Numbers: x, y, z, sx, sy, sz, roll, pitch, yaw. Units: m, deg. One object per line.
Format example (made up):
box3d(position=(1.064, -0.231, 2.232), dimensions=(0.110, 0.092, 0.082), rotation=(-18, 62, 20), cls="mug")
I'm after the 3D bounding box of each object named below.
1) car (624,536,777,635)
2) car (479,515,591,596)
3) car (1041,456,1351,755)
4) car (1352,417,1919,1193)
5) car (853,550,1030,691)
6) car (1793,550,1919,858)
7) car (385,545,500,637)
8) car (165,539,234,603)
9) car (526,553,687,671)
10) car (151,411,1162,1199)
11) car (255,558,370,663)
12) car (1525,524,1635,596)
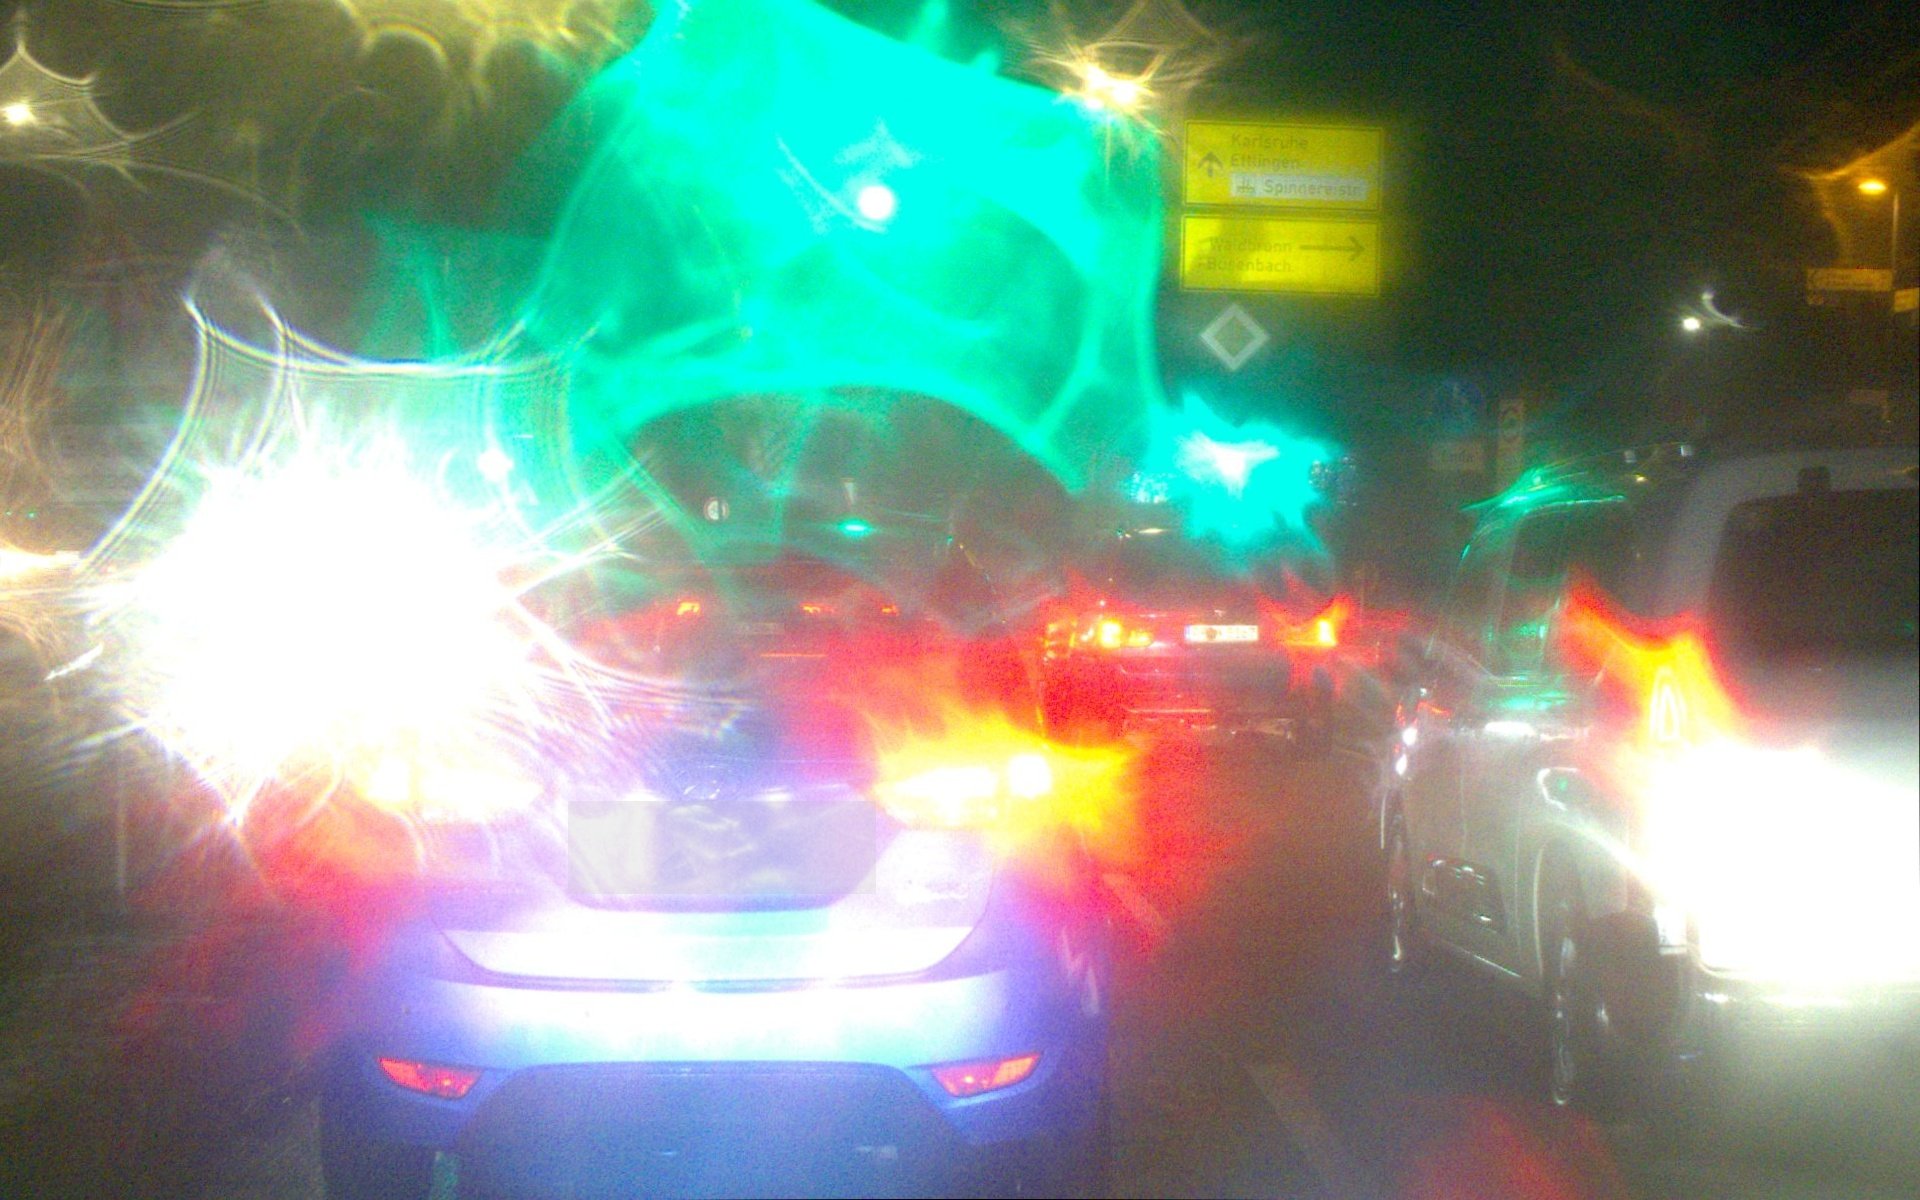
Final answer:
box3d(position=(-4.624, -0.275, 60.711), dimensions=(1.993, 1.664, 4.001), rotation=(1, 1, -15), cls="car")
box3d(position=(-10.048, -1.046, 81.086), dimensions=(1.993, 1.814, 4.001), rotation=(1, 1, -16), cls="car")
box3d(position=(1.685, 0.017, 25.844), dimensions=(1.968, 2.040, 4.000), rotation=(1, 0, -1), cls="car")
box3d(position=(2.411, 0.485, 10.468), dimensions=(1.851, 1.858, 4.341), rotation=(1, 1, -1), cls="car")
box3d(position=(-0.293, 0.234, 44.604), dimensions=(1.993, 1.712, 4.001), rotation=(1, 1, -4), cls="car")
box3d(position=(5.438, 0.498, 16.327), dimensions=(1.784, 1.437, 4.238), rotation=(0, 1, -2), cls="car")
box3d(position=(-10.757, -0.203, 71.294), dimensions=(1.993, 1.818, 4.001), rotation=(1, 1, -14), cls="car")
box3d(position=(-24.703, -0.948, 111.616), dimensions=(1.993, 2.007, 4.001), rotation=(1, 1, -15), cls="car")
box3d(position=(-5.486, 0.158, 53.001), dimensions=(1.993, 1.726, 4.001), rotation=(1, 1, -12), cls="car")
box3d(position=(-0.806, 0.470, 9.188), dimensions=(2.014, 1.711, 4.452), rotation=(1, 1, -5), cls="car")
box3d(position=(-12.935, 0.184, 68.494), dimensions=(2.014, 1.880, 4.453), rotation=(1, 2, -13), cls="car")
box3d(position=(14.922, -0.955, 82.902), dimensions=(1.865, 1.641, 3.963), rotation=(-2, 1, 0), cls="car")
